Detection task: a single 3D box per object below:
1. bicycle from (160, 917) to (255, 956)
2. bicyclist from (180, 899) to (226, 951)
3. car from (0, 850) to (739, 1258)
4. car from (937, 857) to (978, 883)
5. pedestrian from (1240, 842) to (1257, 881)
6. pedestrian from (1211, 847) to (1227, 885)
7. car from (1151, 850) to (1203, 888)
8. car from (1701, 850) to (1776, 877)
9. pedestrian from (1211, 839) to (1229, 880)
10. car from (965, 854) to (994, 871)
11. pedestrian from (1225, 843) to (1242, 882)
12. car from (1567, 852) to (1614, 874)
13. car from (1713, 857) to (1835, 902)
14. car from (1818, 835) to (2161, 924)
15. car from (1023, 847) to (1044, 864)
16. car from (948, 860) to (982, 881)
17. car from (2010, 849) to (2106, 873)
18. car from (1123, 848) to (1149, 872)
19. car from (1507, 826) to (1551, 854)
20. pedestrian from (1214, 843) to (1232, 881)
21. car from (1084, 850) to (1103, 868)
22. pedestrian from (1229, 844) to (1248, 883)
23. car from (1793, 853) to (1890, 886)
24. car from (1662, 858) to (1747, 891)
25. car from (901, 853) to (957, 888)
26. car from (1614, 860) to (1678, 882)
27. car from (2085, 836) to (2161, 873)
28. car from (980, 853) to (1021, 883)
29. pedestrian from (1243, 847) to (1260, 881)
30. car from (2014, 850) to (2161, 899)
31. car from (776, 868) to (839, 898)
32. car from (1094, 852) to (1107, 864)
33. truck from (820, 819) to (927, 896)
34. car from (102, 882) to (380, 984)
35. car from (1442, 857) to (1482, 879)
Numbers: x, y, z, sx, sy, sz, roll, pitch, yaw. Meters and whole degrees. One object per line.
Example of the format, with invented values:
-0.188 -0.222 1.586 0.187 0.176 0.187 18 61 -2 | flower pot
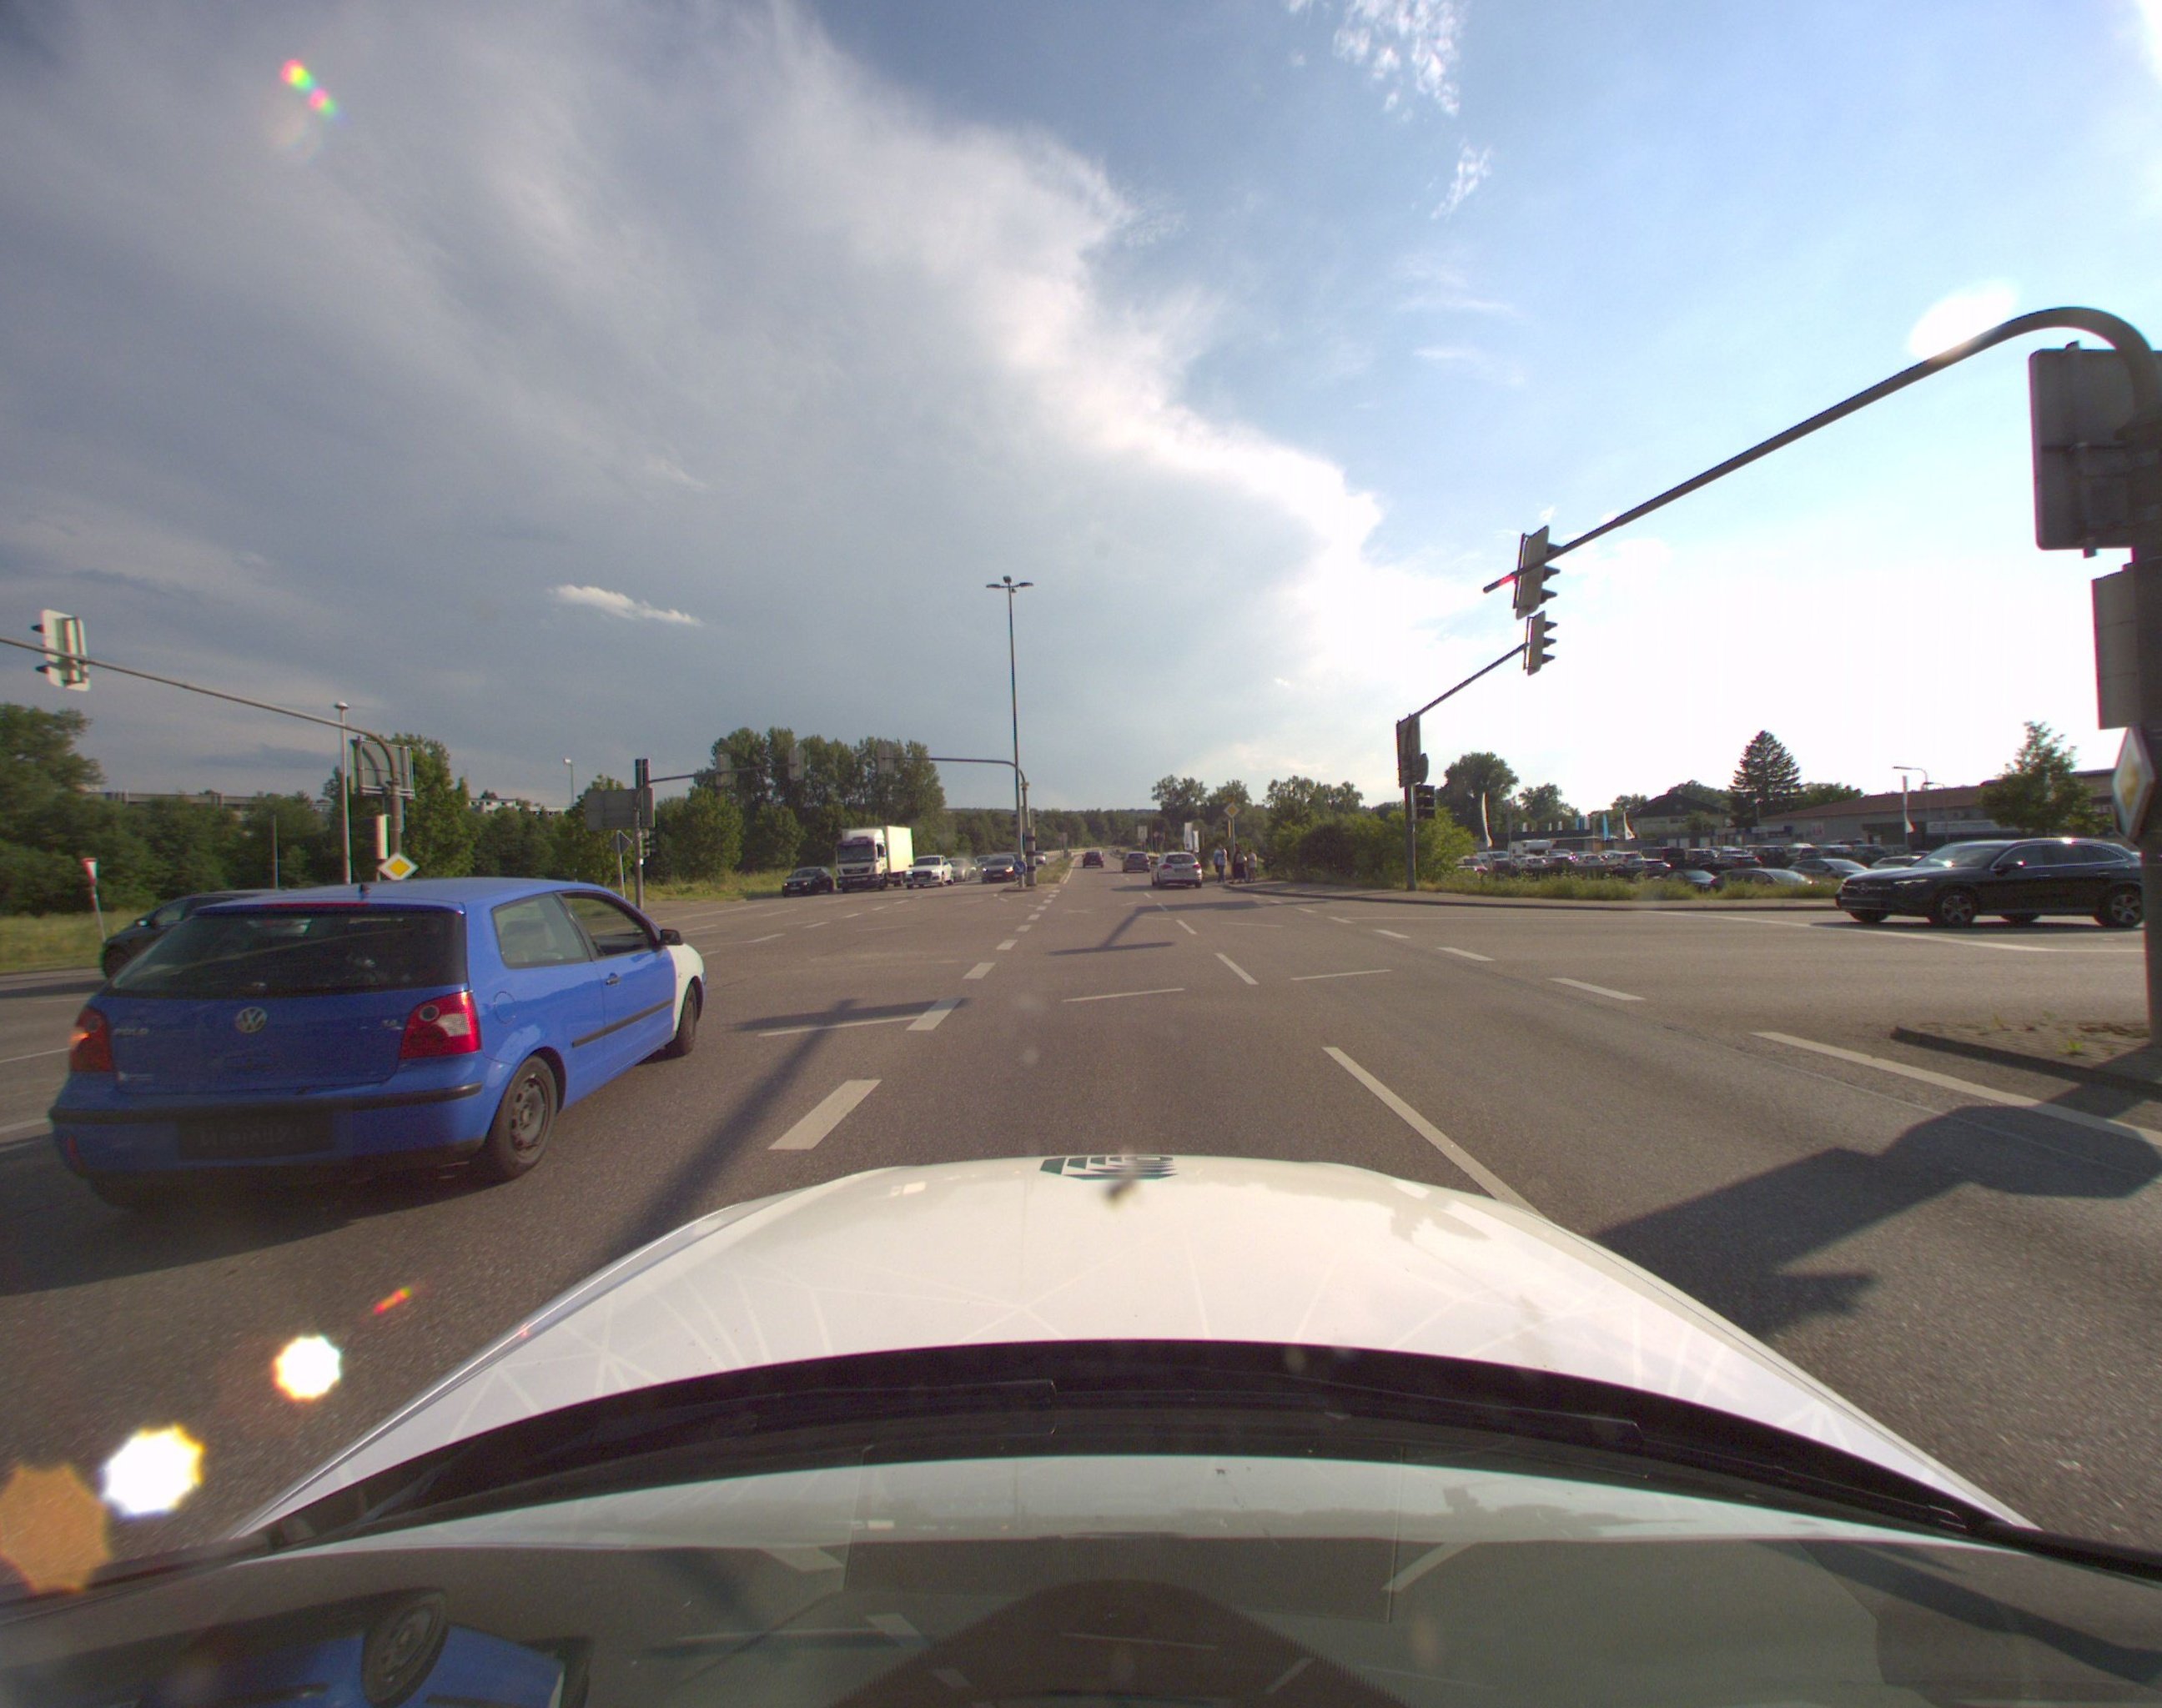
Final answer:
-26.734 2.507 24.973 0.700 1.039 1.947 -1 -1 44 | bicycle
-26.842 2.157 24.918 0.715 1.501 0.926 -1 -1 44 | bicyclist
-3.597 0.788 5.132 1.686 1.500 3.881 -1 -1 -8 | car
-7.596 0.975 50.480 1.696 1.405 5.080 -3 -1 0 | car
7.306 0.344 35.501 0.570 1.678 0.622 0 -1 -4 | pedestrian
6.185 0.518 36.385 0.570 1.678 0.622 0 -1 -4 | pedestrian
3.992 0.616 34.257 1.802 1.486 4.001 0 -1 1 | car
45.731 0.644 56.790 1.826 1.702 4.129 -3 -1 0 | car
6.484 0.245 38.060 0.617 1.883 0.861 -3 -1 0 | pedestrian
-8.071 0.687 65.249 1.774 1.354 4.000 0 -1 1 | car
6.641 0.387 35.470 0.570 1.678 0.622 0 -1 -4 | pedestrian
39.151 0.684 62.667 1.604 1.624 3.350 0 -1 2 | car
26.314 0.940 31.095 1.587 1.629 3.760 0 -1 2 | car
17.358 0.479 15.663 4.435 1.585 2.002 0 -1 4 | car
-4.639 0.142 80.025 1.774 1.520 4.000 -3 -1 1 | car
-8.163 1.113 57.661 1.696 1.283 4.818 -3 0 0 | car
65.522 0.443 54.705 1.719 1.508 4.001 0 0 1 | car
3.758 0.400 56.430 1.661 1.574 4.002 0 -1 2 | car
44.496 -1.353 81.100 1.747 2.549 5.476 0 -1 5 | car
6.489 0.381 37.298 0.593 1.683 0.633 -4 -1 0 | pedestrian
1.080 0.461 69.655 1.487 1.476 3.360 0 -1 2 | car
6.681 0.422 34.656 0.571 1.615 0.622 -3 -1 -4 | pedestrian
38.943 0.794 41.815 1.587 1.629 3.760 0 -1 2 | car
31.756 1.026 41.637 1.587 1.629 3.760 0 -1 2 | car
-7.998 0.862 43.357 1.987 1.678 4.806 -3 -1 0 | car
39.250 1.168 56.659 1.719 1.508 4.000 0 -1 1 | car
51.809 0.038 39.433 1.791 1.750 3.759 0 -1 2 | car
-4.359 0.762 44.785 1.785 1.466 4.927 -2 -1 -1 | car
7.292 0.426 34.782 0.570 1.457 0.622 0 -1 -4 | pedestrian
36.306 0.705 29.150 1.587 1.629 3.760 0 -1 2 | car
-14.512 1.515 43.399 1.807 1.376 4.001 -4 -1 2 | car
2.426 0.490 101.449 1.487 1.476 3.360 0 -1 2 | car
-11.615 0.232 46.864 2.922 3.690 10.502 -4 -1 2 | truck
-16.523 1.531 16.096 4.115 1.691 1.933 -4 -2 13 | car
27.288 0.971 58.421 1.521 1.484 3.590 -1 -1 6 | car
